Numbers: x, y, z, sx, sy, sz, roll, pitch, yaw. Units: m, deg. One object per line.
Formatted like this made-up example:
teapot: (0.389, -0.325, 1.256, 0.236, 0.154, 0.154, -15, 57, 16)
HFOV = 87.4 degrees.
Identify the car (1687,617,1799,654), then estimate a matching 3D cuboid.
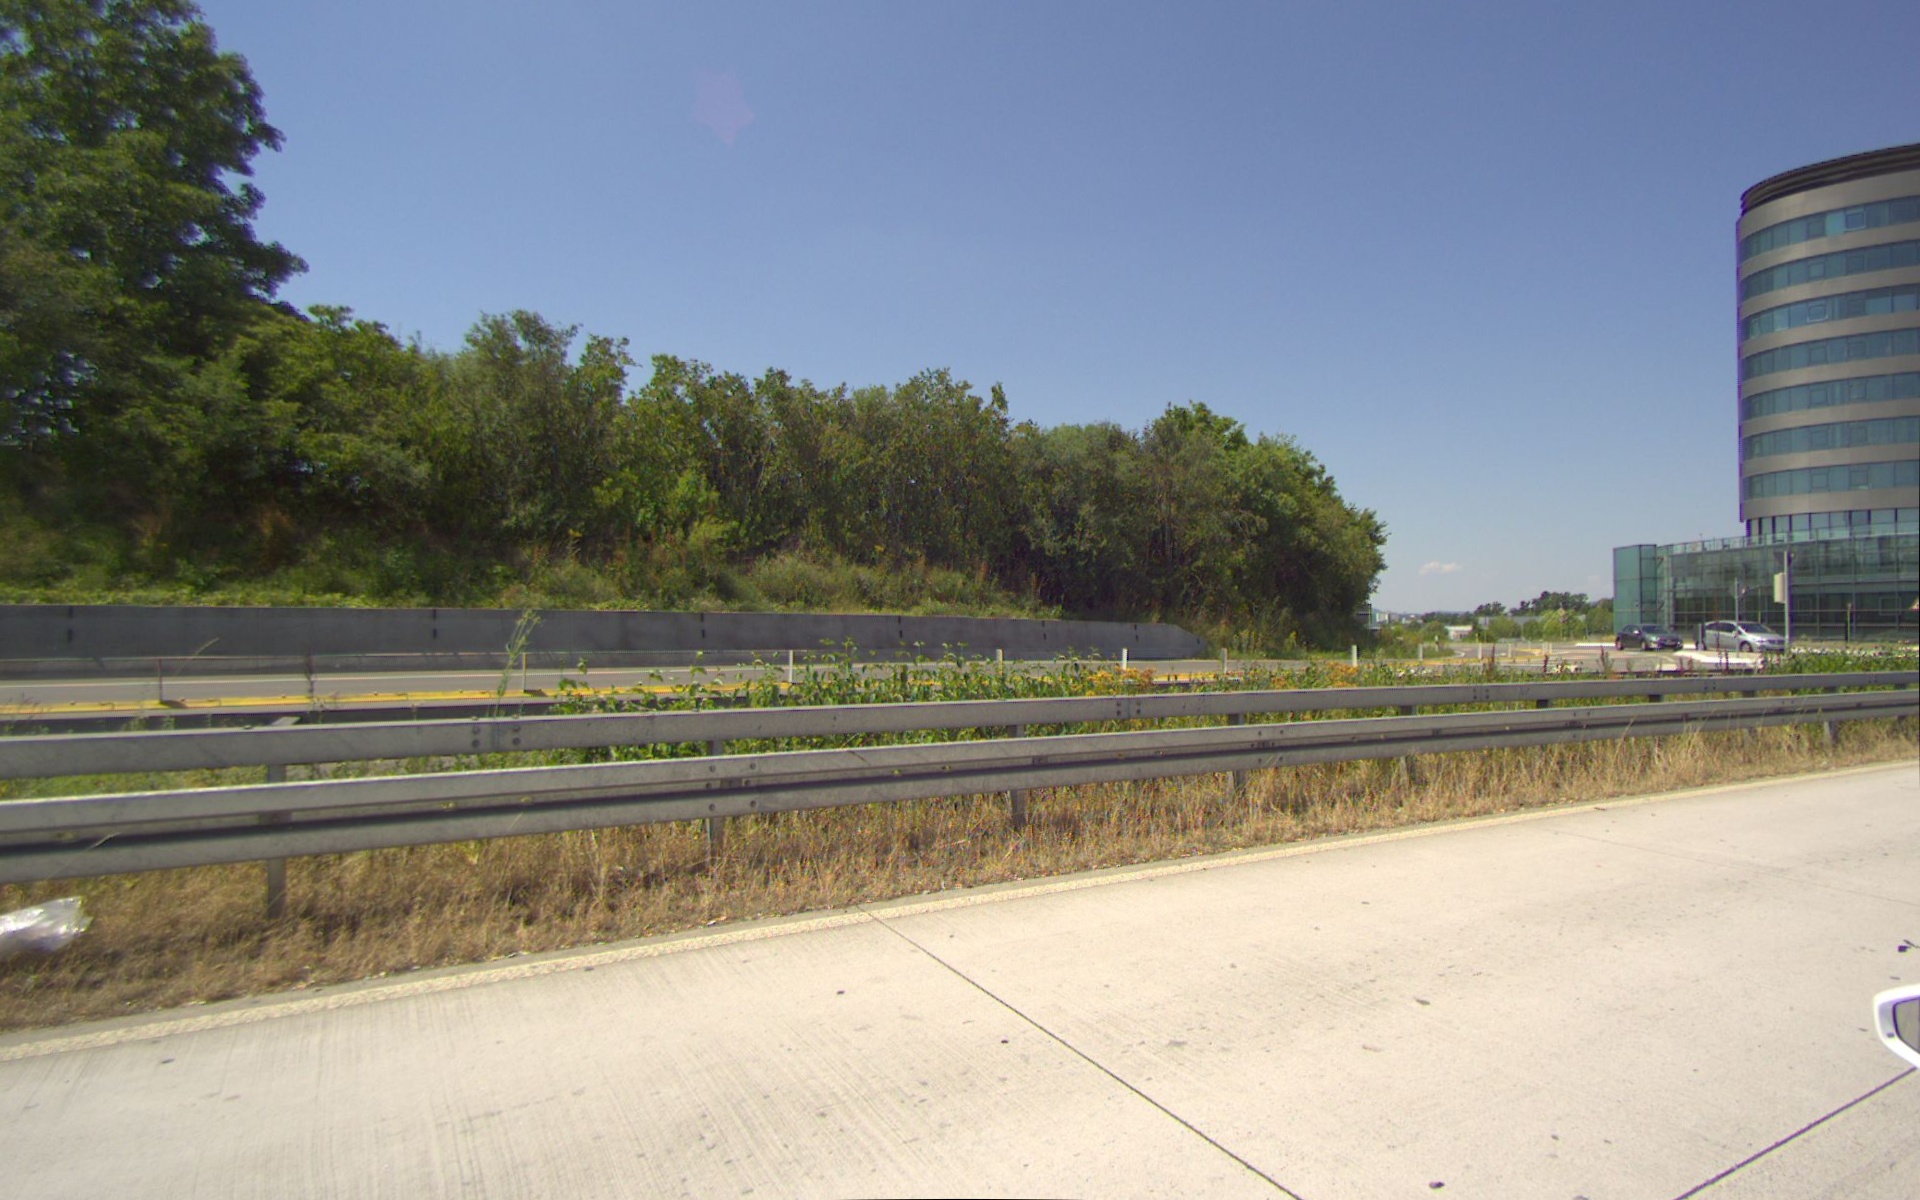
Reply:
car: (36.507, 1.673, 46.983, 1.742, 1.616, 4.329, 2, -2, -2)

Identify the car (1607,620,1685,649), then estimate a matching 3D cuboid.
car: (37.229, 1.903, 54.624, 1.663, 1.475, 4.333, 2, -2, 6)
